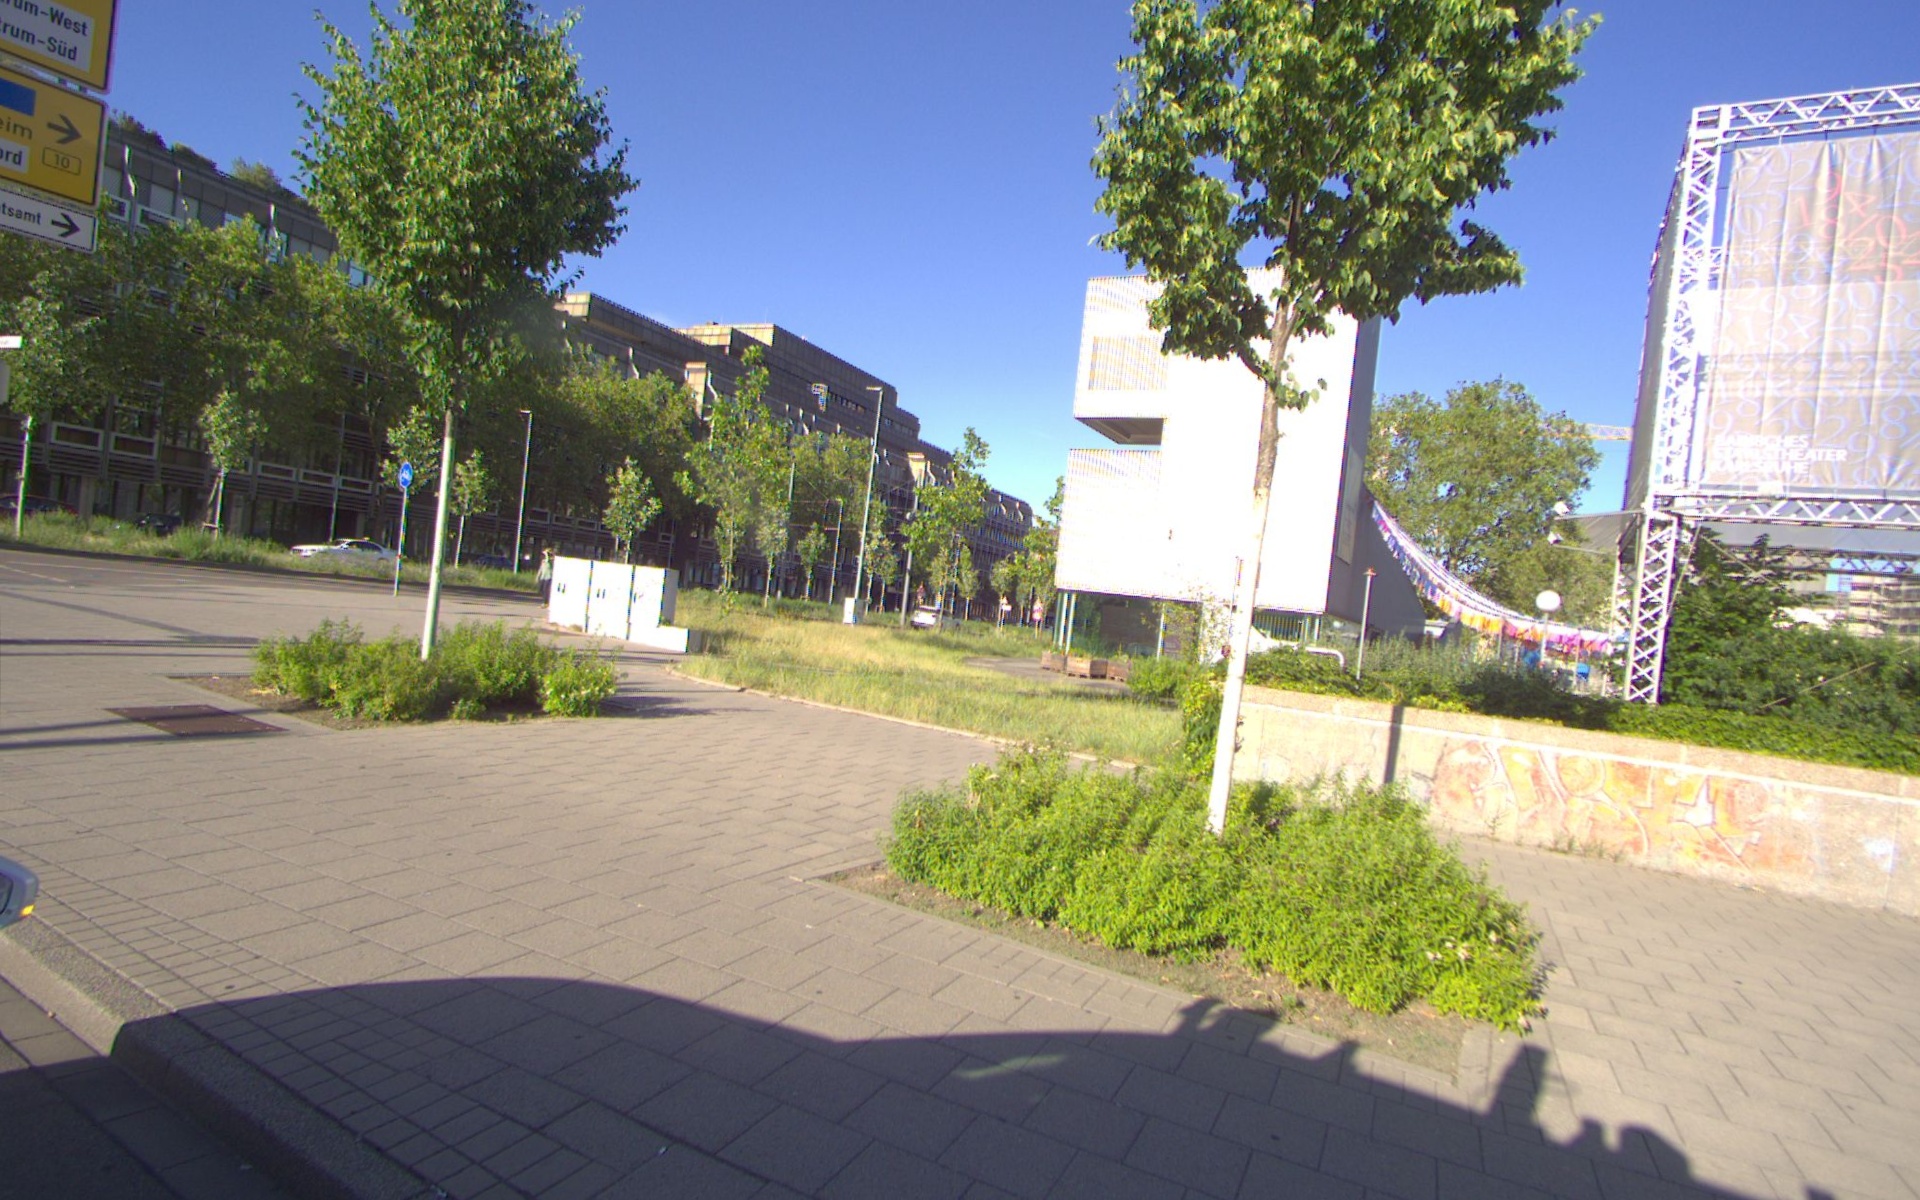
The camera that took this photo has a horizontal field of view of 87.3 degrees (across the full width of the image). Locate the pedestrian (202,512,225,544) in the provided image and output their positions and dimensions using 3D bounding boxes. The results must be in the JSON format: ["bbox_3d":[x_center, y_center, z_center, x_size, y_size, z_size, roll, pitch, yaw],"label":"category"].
[{"bbox_3d":[-42.250,-4.069,56.922,0.728,1.678,0.665,7,1,25],"label":"pedestrian"}]

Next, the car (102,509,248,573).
[{"bbox_3d":[-34.114,-2.531,43.882,1.965,2.036,4.458,7,-2,27],"label":"car"}]

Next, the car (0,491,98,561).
[{"bbox_3d":[-33.316,-2.713,35.375,1.966,2.037,3.997,6,-2,29],"label":"car"}]

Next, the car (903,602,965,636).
[{"bbox_3d":[-1.535,1.186,61.889,1.964,1.680,4.404,8,0,24],"label":"car"}]

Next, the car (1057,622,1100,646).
[{"bbox_3d":[10.256,2.987,86.739,1.965,1.621,4.949,9,0,26],"label":"car"}]

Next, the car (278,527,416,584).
[{"bbox_3d":[-30.679,-2.184,50.585,2.062,2.036,5.455,6,-2,29],"label":"car"}]

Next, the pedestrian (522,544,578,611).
[{"bbox_3d":[-10.914,-0.588,26.792,0.925,1.650,0.803,7,1,18],"label":"pedestrian"}]

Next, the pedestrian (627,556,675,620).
[{"bbox_3d":[-9.014,-0.344,29.383,0.925,1.750,0.695,7,1,18],"label":"pedestrian"}]

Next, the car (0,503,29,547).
[{"bbox_3d":[-37.246,-3.045,36.945,1.836,1.525,3.997,7,-2,29],"label":"car"}]
